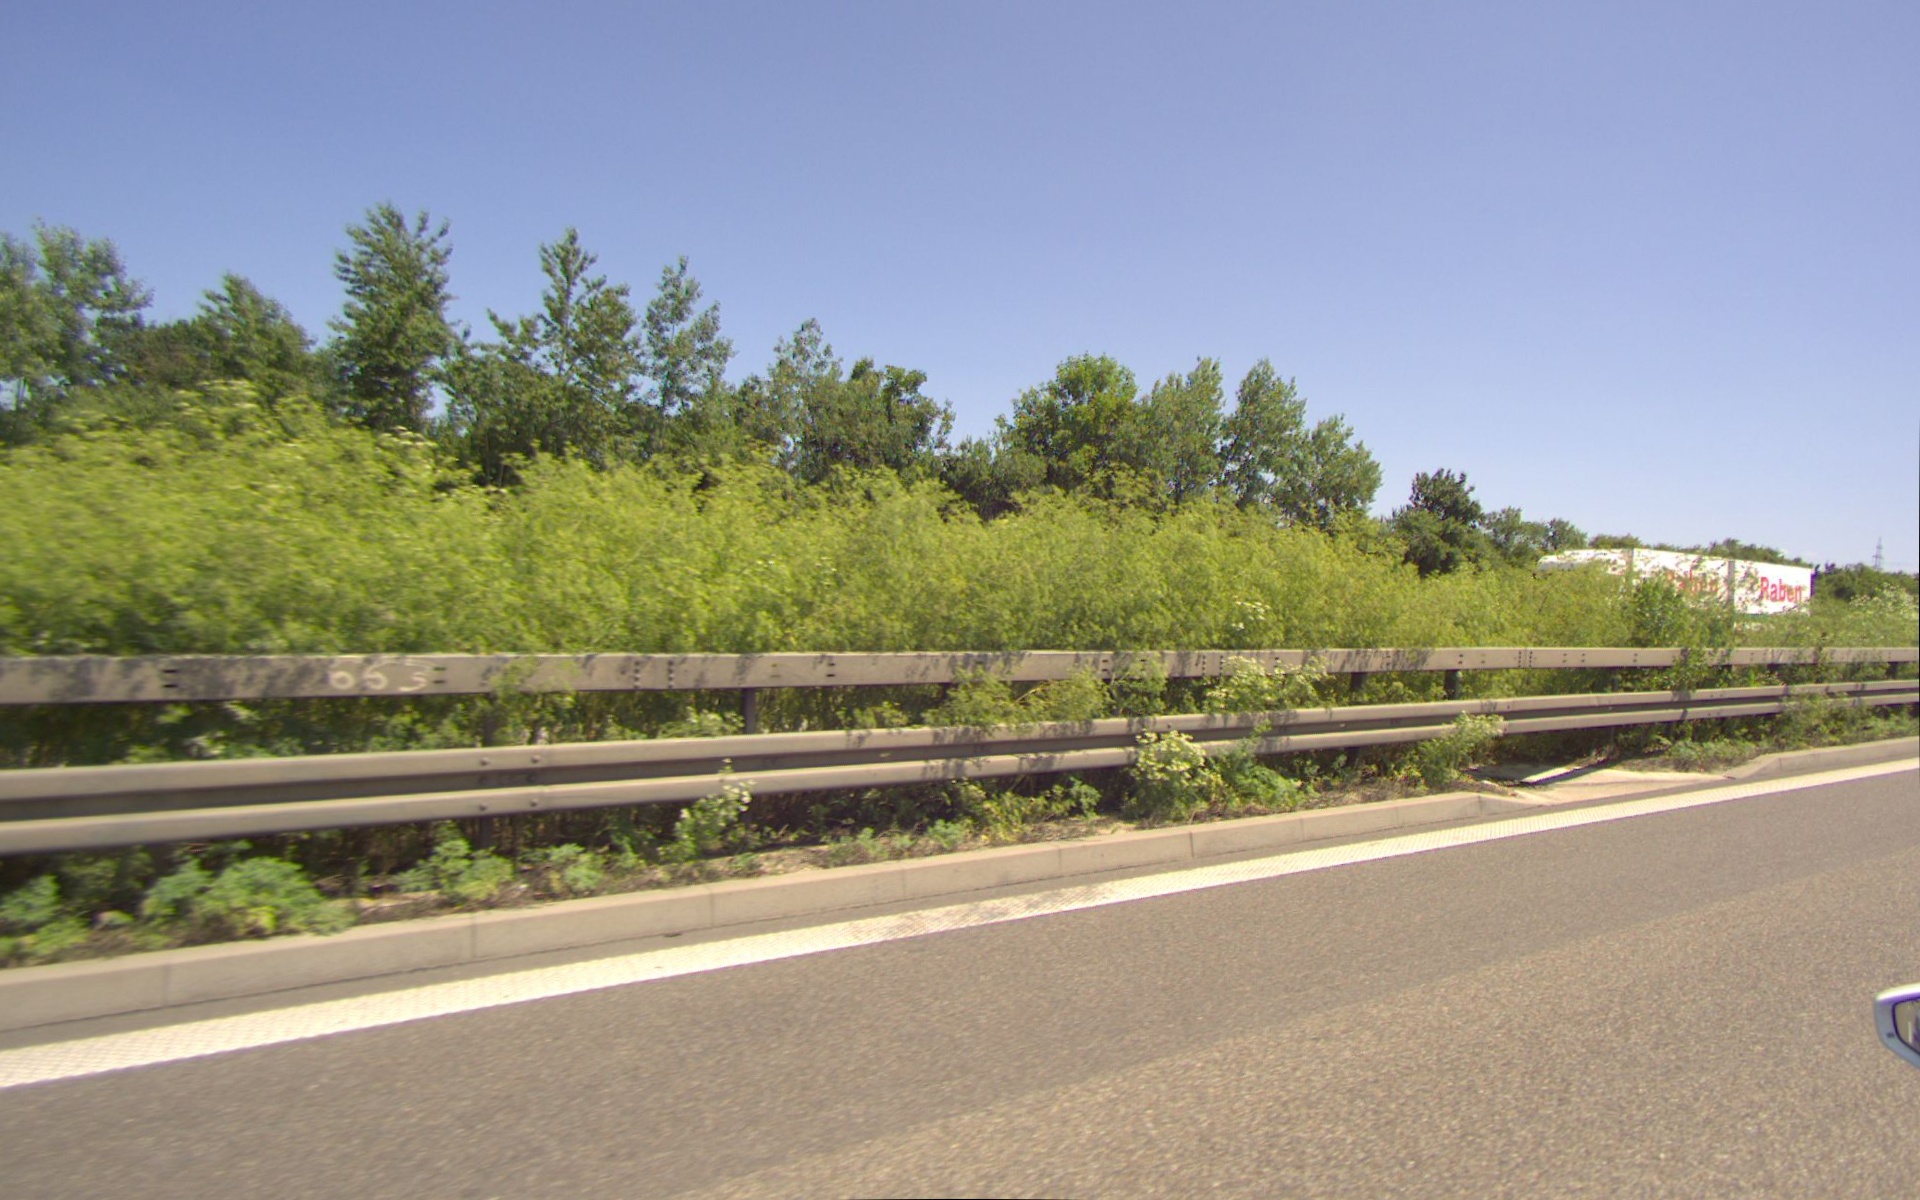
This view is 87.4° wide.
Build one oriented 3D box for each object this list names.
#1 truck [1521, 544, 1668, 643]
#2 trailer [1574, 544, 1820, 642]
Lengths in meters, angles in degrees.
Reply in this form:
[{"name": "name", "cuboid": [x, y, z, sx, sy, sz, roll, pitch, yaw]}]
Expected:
[{"name": "truck", "cuboid": [23.389, -0.177, 36.995, 4.987, 3.395, 2.584, 2, 0, -31]}, {"name": "trailer", "cuboid": [30.911, -0.076, 41.627, 15.654, 3.489, 2.583, 2, -1, -32]}]
